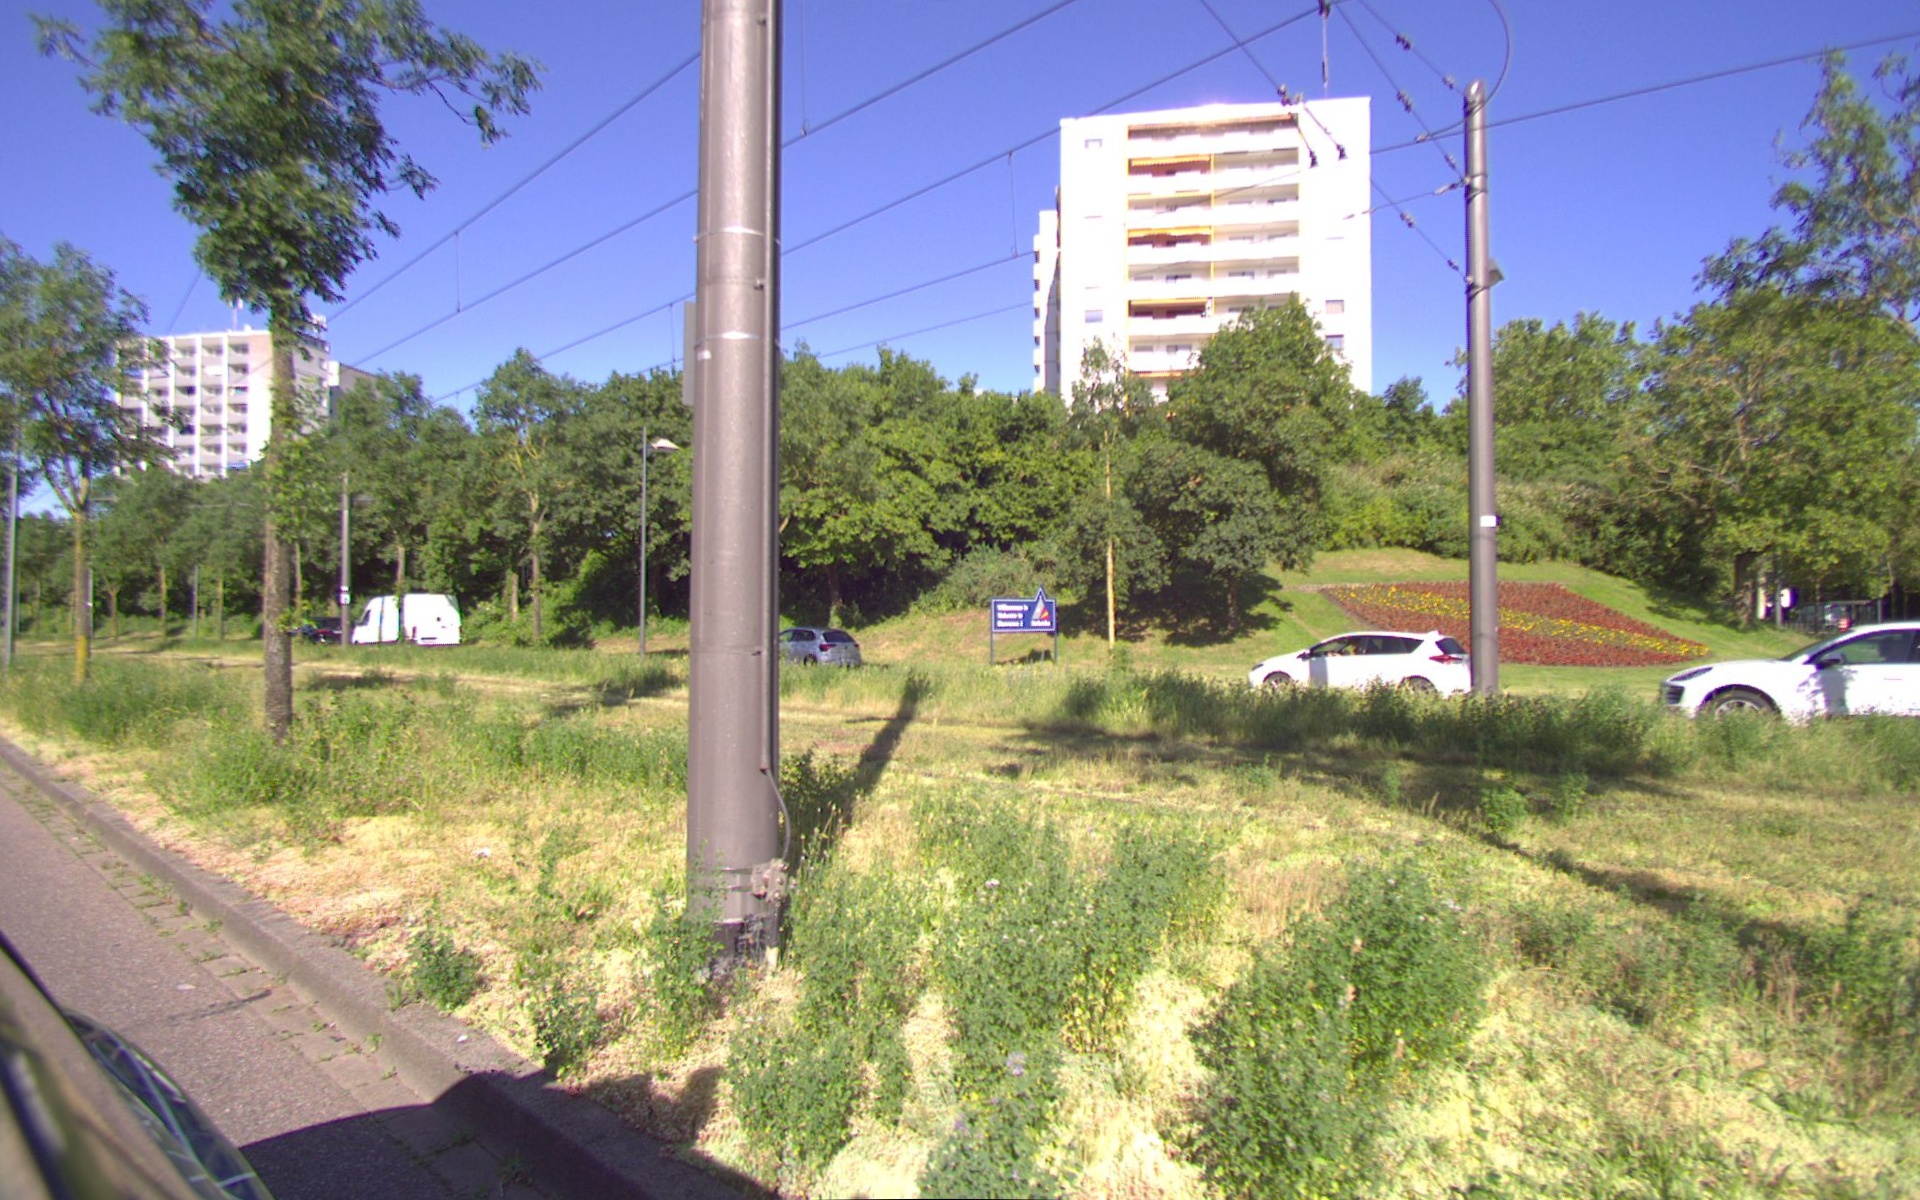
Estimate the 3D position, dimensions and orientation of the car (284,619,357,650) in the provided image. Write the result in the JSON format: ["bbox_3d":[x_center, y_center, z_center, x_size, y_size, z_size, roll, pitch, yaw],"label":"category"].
[{"bbox_3d":[-35.134,1.884,55.548,5.270,1.596,1.973,-1,-1,41],"label":"car"}]

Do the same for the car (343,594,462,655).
[{"bbox_3d":[-23.490,1.021,42.465,6.874,2.387,2.019,-1,-1,40],"label":"car"}]

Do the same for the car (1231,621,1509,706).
[{"bbox_3d":[7.714,1.124,19.318,4.542,1.408,1.879,-1,-1,42],"label":"car"}]

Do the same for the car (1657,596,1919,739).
[{"bbox_3d":[11.476,0.772,12.433,4.653,1.634,1.875,-1,-1,40],"label":"car"}]

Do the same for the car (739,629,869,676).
[{"bbox_3d":[-4.794,1.558,30.855,3.998,1.302,1.779,-1,-1,41],"label":"car"}]
